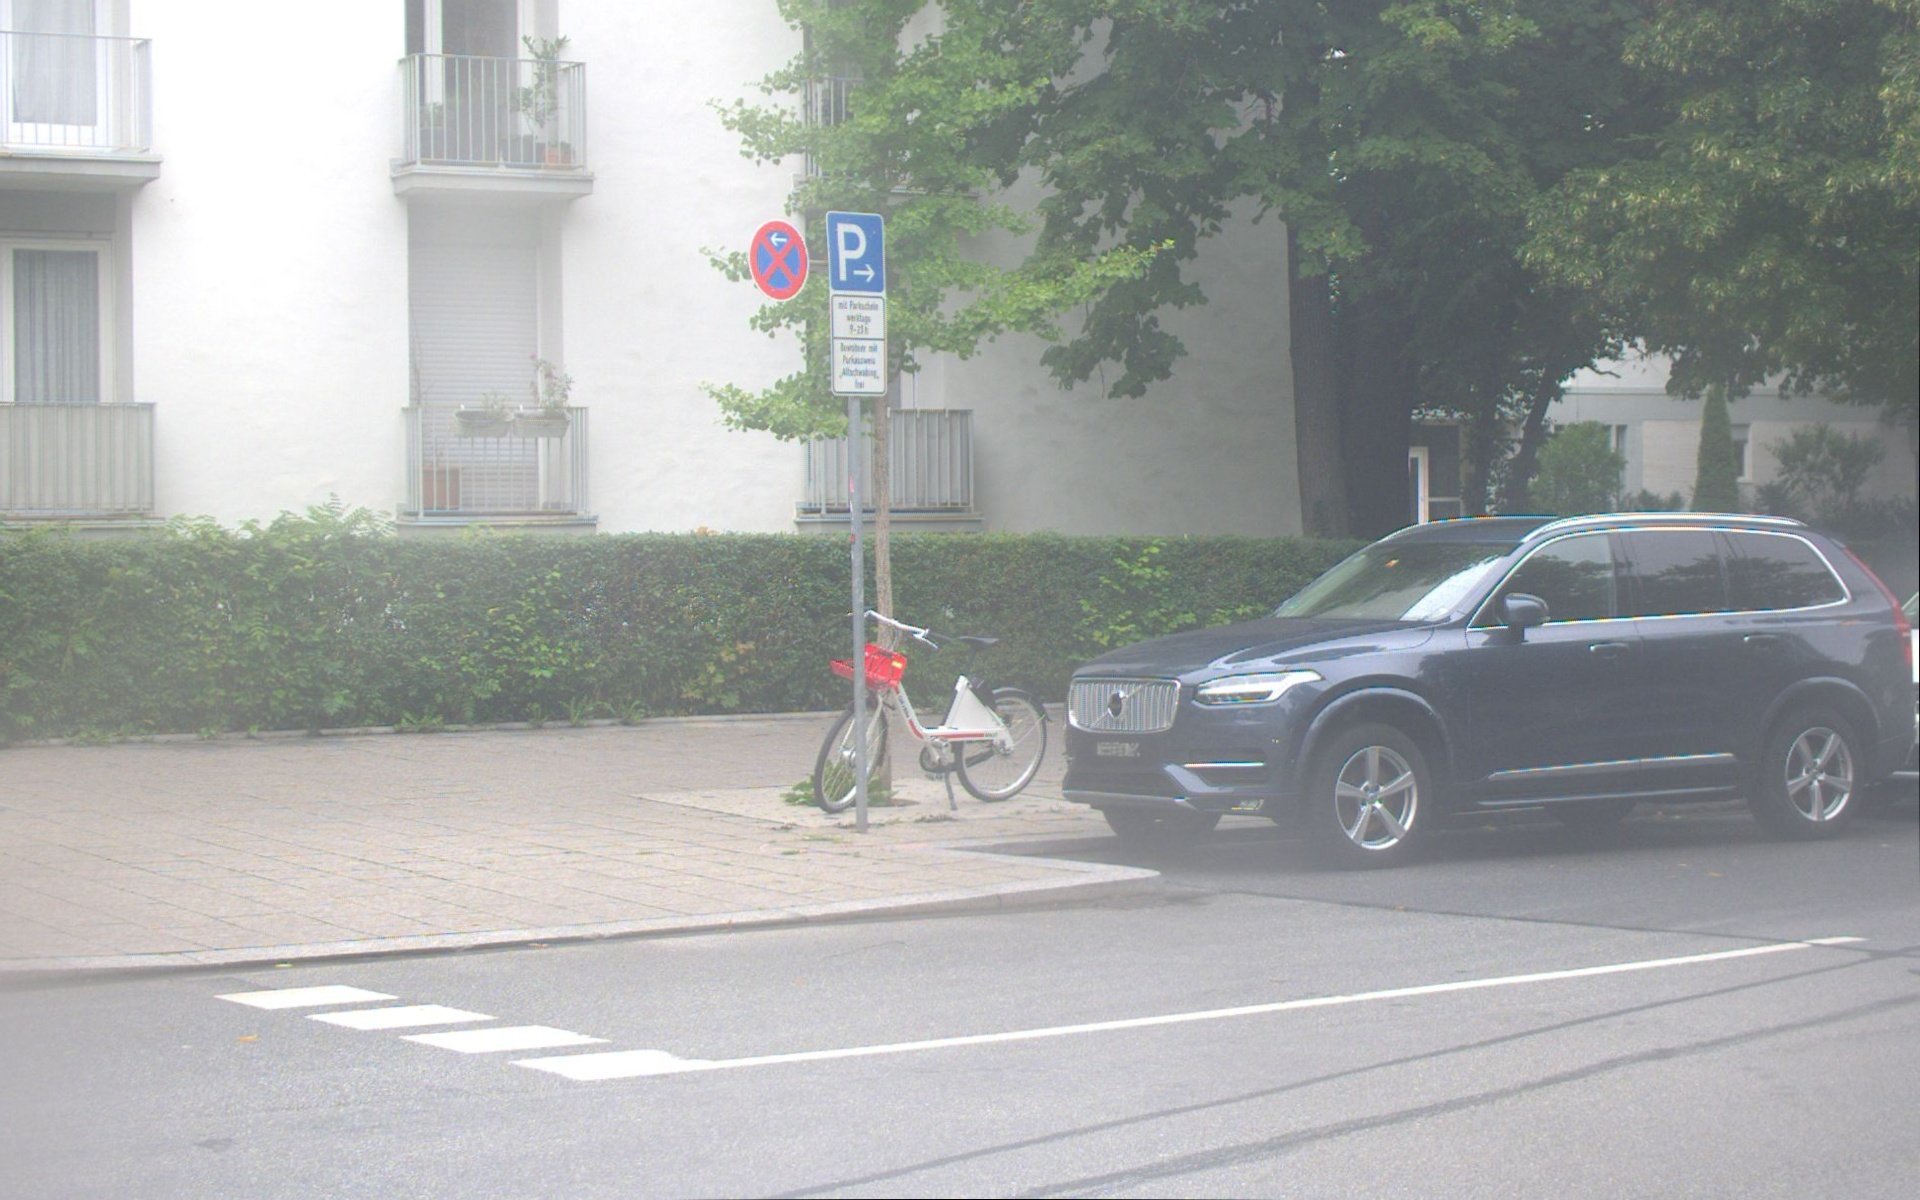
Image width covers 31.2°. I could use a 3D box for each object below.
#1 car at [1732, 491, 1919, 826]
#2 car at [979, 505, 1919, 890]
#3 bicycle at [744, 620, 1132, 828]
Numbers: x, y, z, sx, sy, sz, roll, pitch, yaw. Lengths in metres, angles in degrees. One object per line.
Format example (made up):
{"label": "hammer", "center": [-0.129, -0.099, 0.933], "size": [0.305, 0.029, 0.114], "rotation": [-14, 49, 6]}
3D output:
{"label": "car", "center": [7.168, 0.276, 21.040], "size": [4.852, 1.888, 1.932], "rotation": [-1, 2, -33]}
{"label": "car", "center": [2.723, 0.397, 18.029], "size": [4.891, 1.761, 2.072], "rotation": [-1, 2, -32]}
{"label": "bicycle", "center": [-0.117, 0.663, 19.141], "size": [1.965, 1.048, 0.914], "rotation": [-1, 1, -31]}
